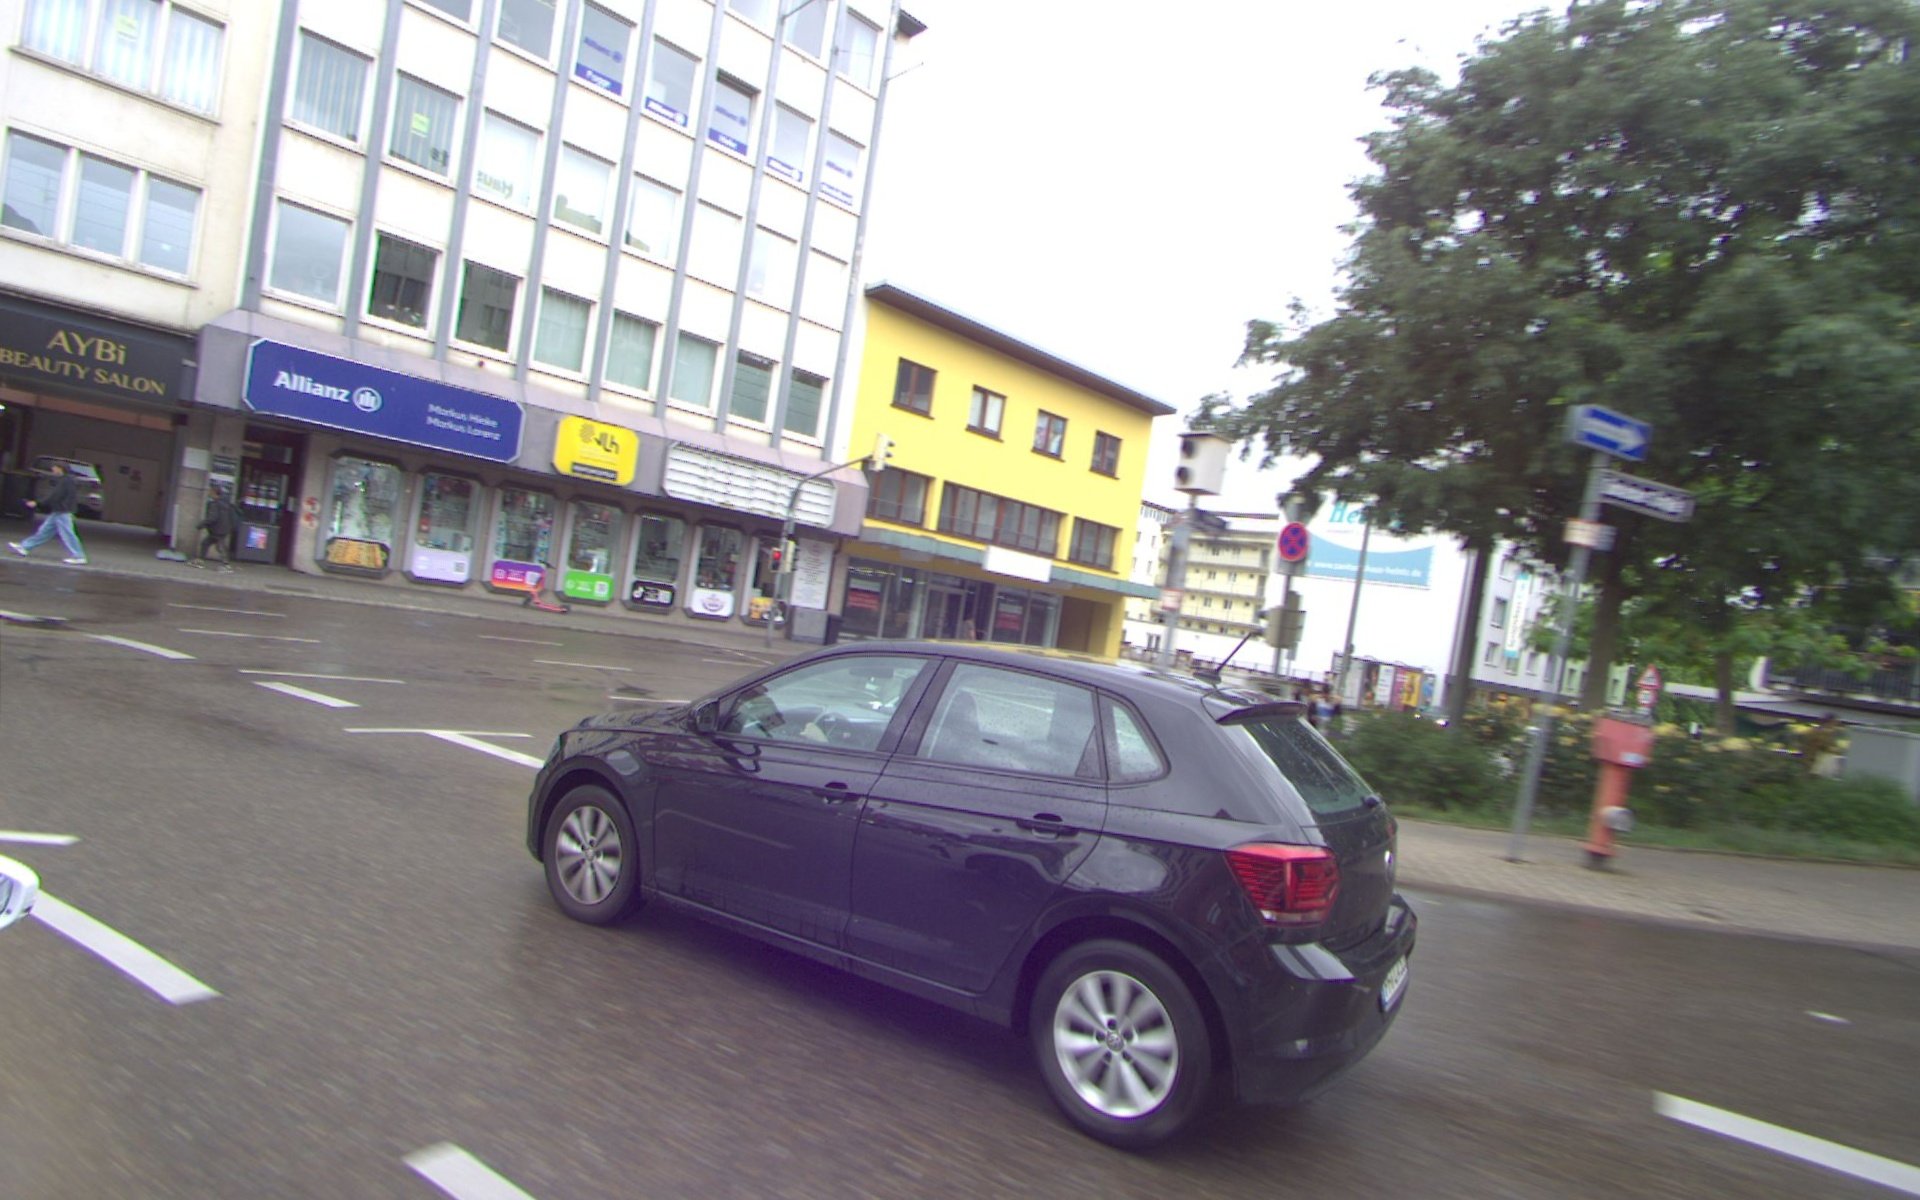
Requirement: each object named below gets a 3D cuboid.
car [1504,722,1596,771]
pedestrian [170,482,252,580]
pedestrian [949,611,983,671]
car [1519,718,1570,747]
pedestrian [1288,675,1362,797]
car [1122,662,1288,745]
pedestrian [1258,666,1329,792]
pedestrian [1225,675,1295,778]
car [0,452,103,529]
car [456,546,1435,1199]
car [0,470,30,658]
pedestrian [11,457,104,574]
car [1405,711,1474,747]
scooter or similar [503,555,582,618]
[{"bbox_3d":[24.602,6.126,41.917,4.173,1.439,1.808,10,2,-39],"label":"car"},{"bbox_3d":[-14.964,-1.374,20.096,0.818,1.711,1.028,15,5,44],"label":"pedestrian"},{"bbox_3d":[0.214,1.376,33.695,0.666,1.845,0.894,6,-5,19],"label":"pedestrian"},{"bbox_3d":[41.175,9.336,70.837,4.176,1.430,1.806,10,2,-42],"label":"car"},{"bbox_3d":[5.423,2.015,14.934,0.712,1.693,0.671,12,-7,-44],"label":"pedestrian"},{"bbox_3d":[6.238,2.632,25.388,4.174,1.430,1.807,10,2,-40],"label":"car"},{"bbox_3d":[5.202,2.001,15.688,0.671,1.845,0.712,2,-7,44],"label":"pedestrian"},{"bbox_3d":[5.942,2.500,19.889,0.877,1.847,0.825,8,-2,33],"label":"pedestrian"},{"bbox_3d":[-25.031,-2.978,27.639,3.948,1.690,1.793,6,-1,44],"label":"car"},{"bbox_3d":[-0.246,0.767,4.460,3.934,1.495,1.690,8,1,33],"label":"car"},{"bbox_3d":[-11.072,-0.685,8.945,4.420,1.715,1.905,9,0,14],"label":"car"},{"bbox_3d":[-16.013,-1.490,17.854,0.818,1.822,1.028,15,5,44],"label":"pedestrian"},{"bbox_3d":[26.575,7.166,55.697,4.176,1.430,1.806,10,2,-42],"label":"car"},{"bbox_3d":[-10.261,-0.333,24.733,1.508,1.225,0.613,12,2,-39],"label":"scooter or similar"}]
